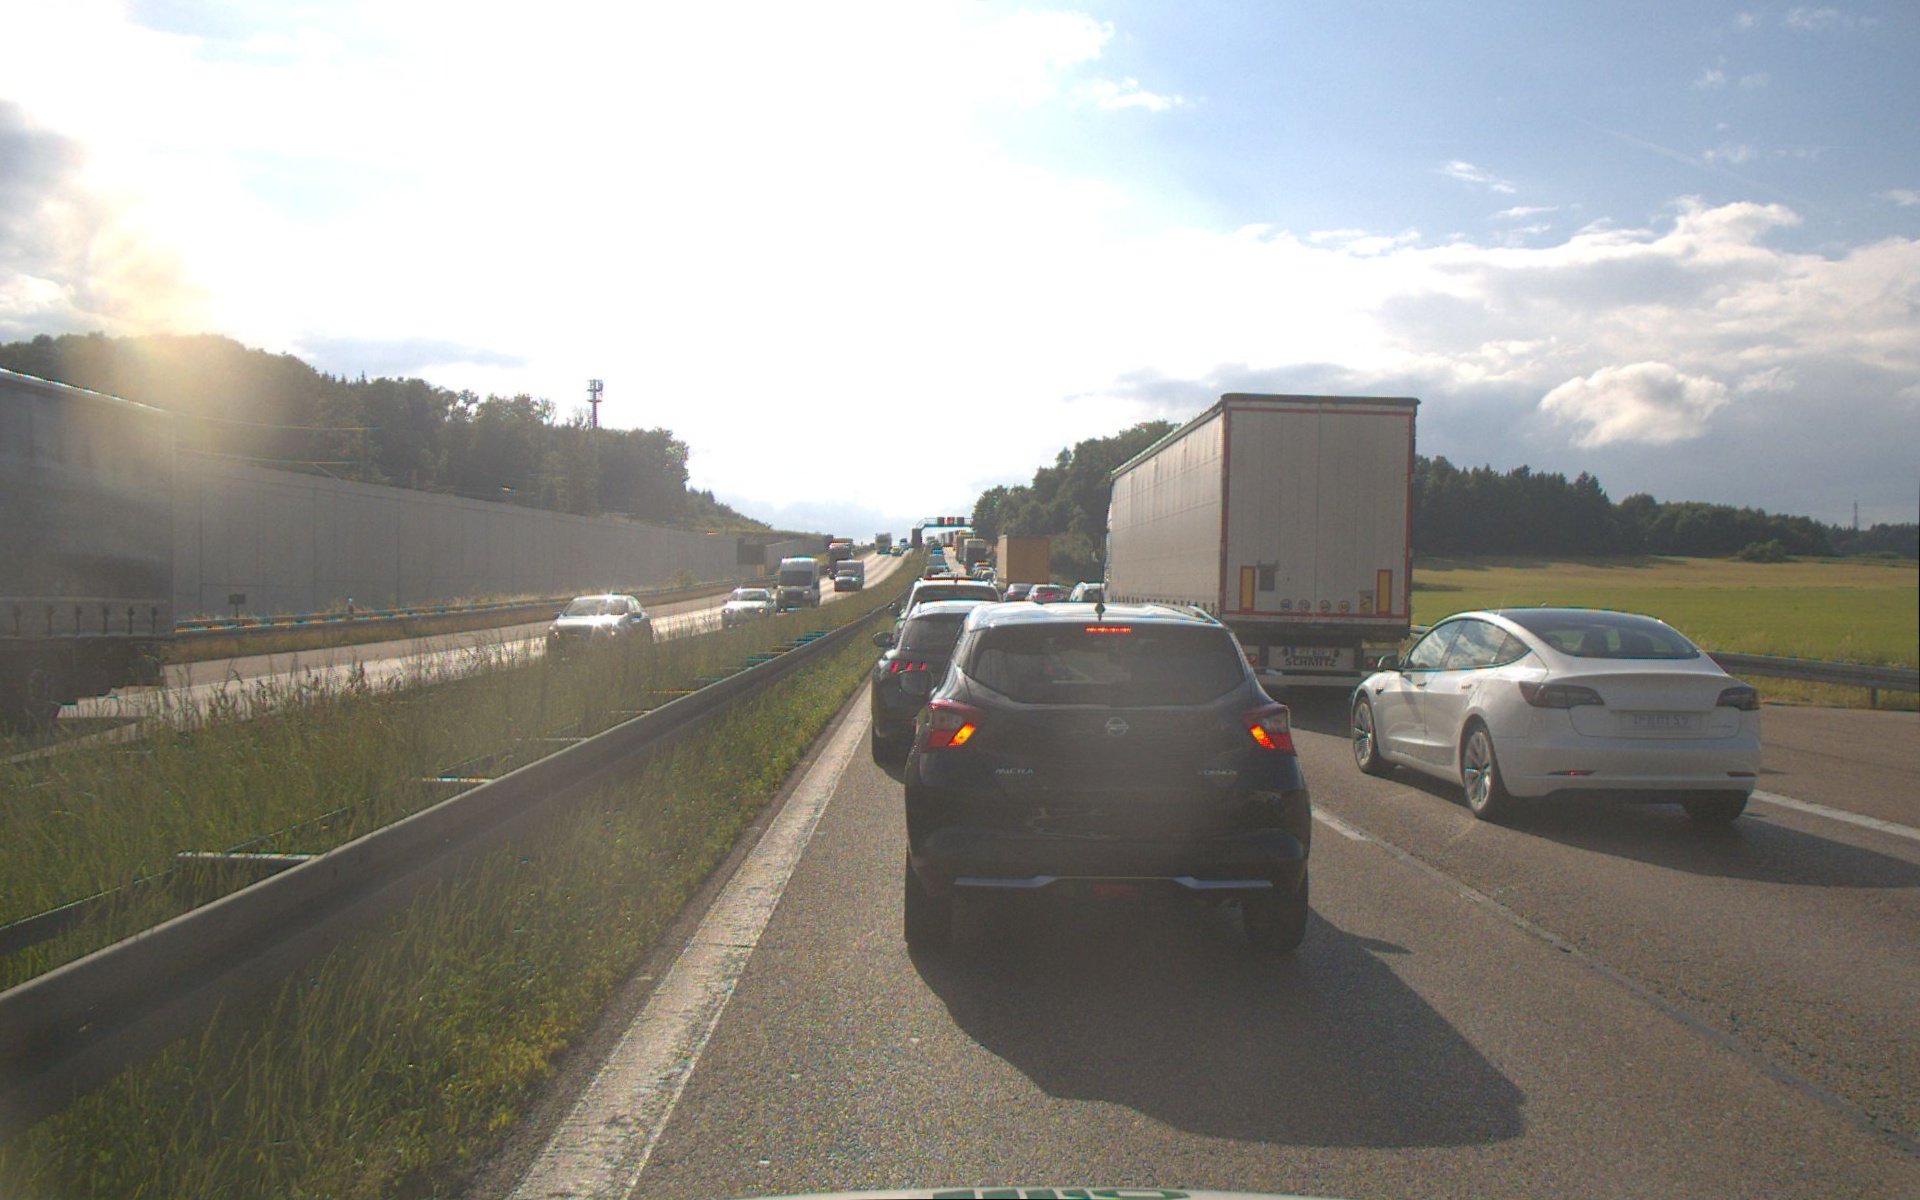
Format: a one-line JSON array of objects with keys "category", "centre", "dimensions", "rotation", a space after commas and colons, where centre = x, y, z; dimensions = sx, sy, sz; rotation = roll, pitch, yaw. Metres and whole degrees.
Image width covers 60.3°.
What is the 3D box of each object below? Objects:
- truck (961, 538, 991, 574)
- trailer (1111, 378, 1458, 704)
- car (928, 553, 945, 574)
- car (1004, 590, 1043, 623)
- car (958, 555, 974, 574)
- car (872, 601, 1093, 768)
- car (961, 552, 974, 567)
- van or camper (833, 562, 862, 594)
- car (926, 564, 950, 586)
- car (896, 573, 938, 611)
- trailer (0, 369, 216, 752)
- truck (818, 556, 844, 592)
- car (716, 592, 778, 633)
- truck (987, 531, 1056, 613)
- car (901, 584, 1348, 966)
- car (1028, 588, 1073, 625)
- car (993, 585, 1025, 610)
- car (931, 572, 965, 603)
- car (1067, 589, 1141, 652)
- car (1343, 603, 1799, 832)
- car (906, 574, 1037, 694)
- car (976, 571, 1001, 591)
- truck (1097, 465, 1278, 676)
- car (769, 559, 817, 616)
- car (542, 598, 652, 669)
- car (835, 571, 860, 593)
[{"category": "truck", "centre": [2.115, -6.011, 226.206], "dimensions": [3.395, 4.656, 12.437], "rotation": [1, 1, -2]}, {"category": "trailer", "centre": [4.715, -0.648, 27.594], "dimensions": [3.067, 4.081, 13.364], "rotation": [1, -1, 0]}, {"category": "car", "centre": [-2.537, -3.932, 177.411], "dimensions": [1.835, 2.196, 5.211], "rotation": [0, 3, -1]}, {"category": "car", "centre": [3.361, 0.334, 87.938], "dimensions": [1.835, 1.673, 4.232], "rotation": [0, 1, -1]}, {"category": "car", "centre": [0.695, -4.302, 200.680], "dimensions": [1.835, 2.196, 5.211], "rotation": [0, 3, -1]}, {"category": "car", "centre": [0.163, 0.701, 15.802], "dimensions": [1.835, 1.381, 4.231], "rotation": [0, 0, -1]}, {"category": "car", "centre": [1.185, -6.274, 255.804], "dimensions": [1.835, 2.196, 5.211], "rotation": [0, 3, -1]}, {"category": "van or camper", "centre": [-9.760, -1.866, 143.477], "dimensions": [2.207, 2.751, 7.168], "rotation": [0, 0, -1]}, {"category": "car", "centre": [-1.769, -2.040, 133.656], "dimensions": [1.835, 1.673, 4.231], "rotation": [0, 2, -2]}, {"category": "car", "centre": [-1.950, -0.379, 76.131], "dimensions": [1.835, 1.673, 4.232], "rotation": [0, 1, -1]}, {"category": "trailer", "centre": [-11.711, -0.404, 16.449], "dimensions": [2.734, 4.148, 13.516], "rotation": [-1, 0, -1]}, {"category": "truck", "centre": [-14.716, -2.978, 188.727], "dimensions": [2.530, 3.991, 5.721], "rotation": [-1, 0, -1]}, {"category": "car", "centre": [-7.931, 0.452, 61.924], "dimensions": [1.835, 1.476, 4.231], "rotation": [0, 0, -1]}, {"category": "truck", "centre": [3.629, -1.547, 101.375], "dimensions": [3.230, 4.657, 12.435], "rotation": [1, 0, -2]}, {"category": "car", "centre": [0.616, 0.677, 8.533], "dimensions": [1.737, 1.476, 4.231], "rotation": [0, 0, -1]}, {"category": "car", "centre": [4.253, 0.288, 78.363], "dimensions": [1.835, 1.673, 4.232], "rotation": [0, 1, -1]}, {"category": "car", "centre": [3.282, -0.196, 111.986], "dimensions": [1.836, 1.673, 4.230], "rotation": [0, 1, -3]}, {"category": "car", "centre": [-0.692, -0.728, 93.571], "dimensions": [1.835, 1.673, 4.232], "rotation": [0, 2, -1]}, {"category": "car", "centre": [3.878, 0.527, 45.221], "dimensions": [1.663, 1.639, 4.437], "rotation": [0, 0, 0]}, {"category": "car", "centre": [4.397, 0.751, 12.714], "dimensions": [1.752, 1.418, 4.435], "rotation": [0, 0, -2]}, {"category": "car", "centre": [0.135, 0.475, 25.197], "dimensions": [1.835, 1.673, 4.231], "rotation": [0, 0, -1]}, {"category": "car", "centre": [2.438, -1.659, 143.621], "dimensions": [1.836, 1.673, 4.229], "rotation": [0, 2, -4]}, {"category": "truck", "centre": [4.684, -0.549, 35.035], "dimensions": [3.069, 4.086, 5.163], "rotation": [1, -1, 0]}, {"category": "car", "centre": [-8.740, -0.636, 86.878], "dimensions": [2.061, 2.920, 5.635], "rotation": [0, 0, -1]}, {"category": "car", "centre": [-8.007, 0.703, 36.782], "dimensions": [1.618, 1.476, 3.955], "rotation": [0, 0, -1]}, {"category": "car", "centre": [-9.381, -1.540, 137.722], "dimensions": [1.872, 1.700, 4.362], "rotation": [0, 3, -1]}]
